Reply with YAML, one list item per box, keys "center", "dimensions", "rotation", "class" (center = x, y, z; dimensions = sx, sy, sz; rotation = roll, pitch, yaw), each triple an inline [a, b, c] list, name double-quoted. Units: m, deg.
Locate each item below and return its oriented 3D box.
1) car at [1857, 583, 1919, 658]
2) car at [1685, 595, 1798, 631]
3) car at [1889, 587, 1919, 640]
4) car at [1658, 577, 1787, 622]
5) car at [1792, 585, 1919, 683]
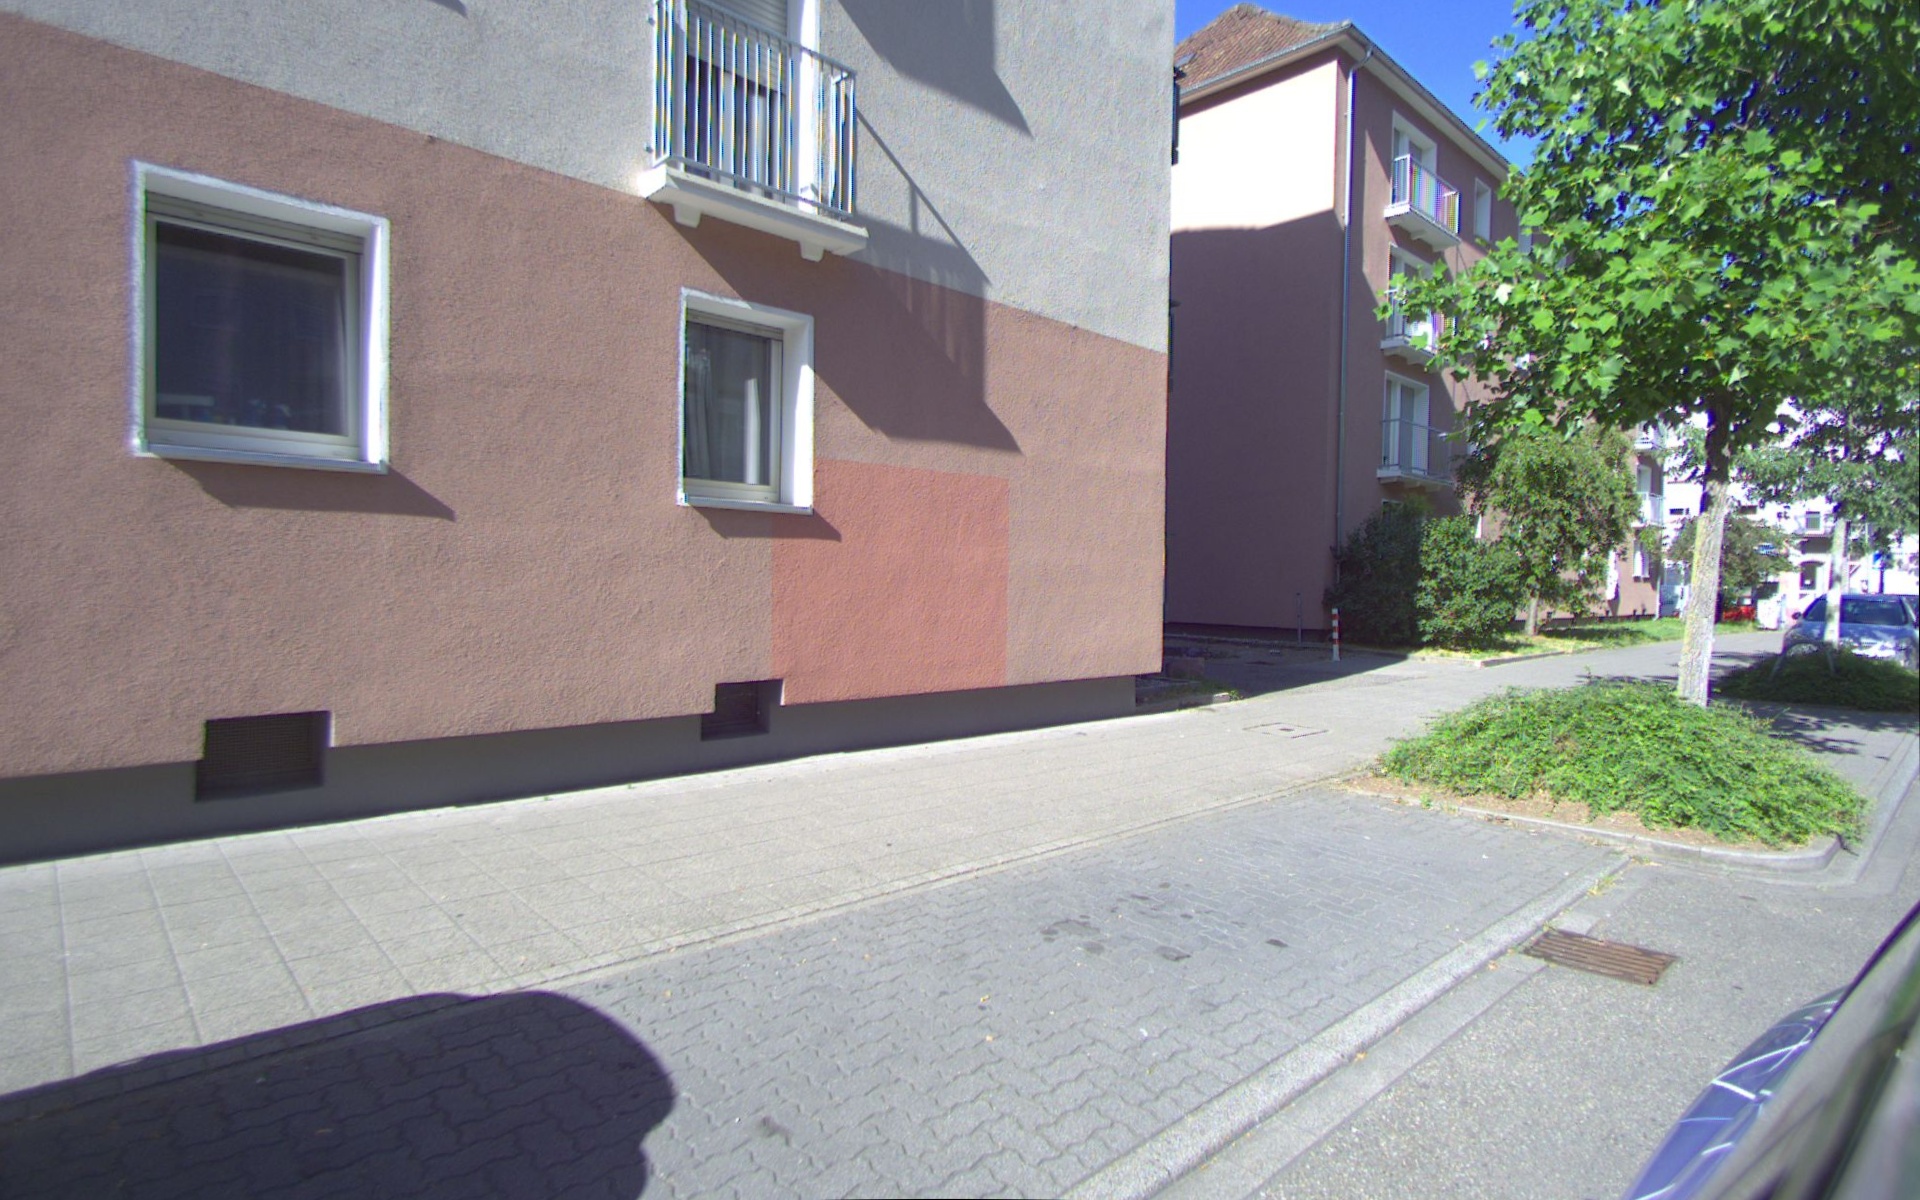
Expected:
- center: [20.790, 0.406, 21.897]
  dimensions: [4.238, 1.501, 1.660]
  rotation: [0, 1, -43]
  class: "car"
- center: [33.534, 0.522, 43.474]
  dimensions: [1.541, 1.420, 3.643]
  rotation: [0, 1, -43]
  class: "car"
- center: [28.083, 0.366, 29.052]
  dimensions: [3.932, 1.446, 1.734]
  rotation: [0, 1, -43]
  class: "car"
- center: [36.291, -0.069, 48.241]
  dimensions: [4.742, 2.039, 1.969]
  rotation: [2, 1, 43]
  class: "car"
- center: [16.102, 0.513, 17.822]
  dimensions: [3.933, 1.471, 1.718]
  rotation: [-1, 3, -43]
  class: "car"
